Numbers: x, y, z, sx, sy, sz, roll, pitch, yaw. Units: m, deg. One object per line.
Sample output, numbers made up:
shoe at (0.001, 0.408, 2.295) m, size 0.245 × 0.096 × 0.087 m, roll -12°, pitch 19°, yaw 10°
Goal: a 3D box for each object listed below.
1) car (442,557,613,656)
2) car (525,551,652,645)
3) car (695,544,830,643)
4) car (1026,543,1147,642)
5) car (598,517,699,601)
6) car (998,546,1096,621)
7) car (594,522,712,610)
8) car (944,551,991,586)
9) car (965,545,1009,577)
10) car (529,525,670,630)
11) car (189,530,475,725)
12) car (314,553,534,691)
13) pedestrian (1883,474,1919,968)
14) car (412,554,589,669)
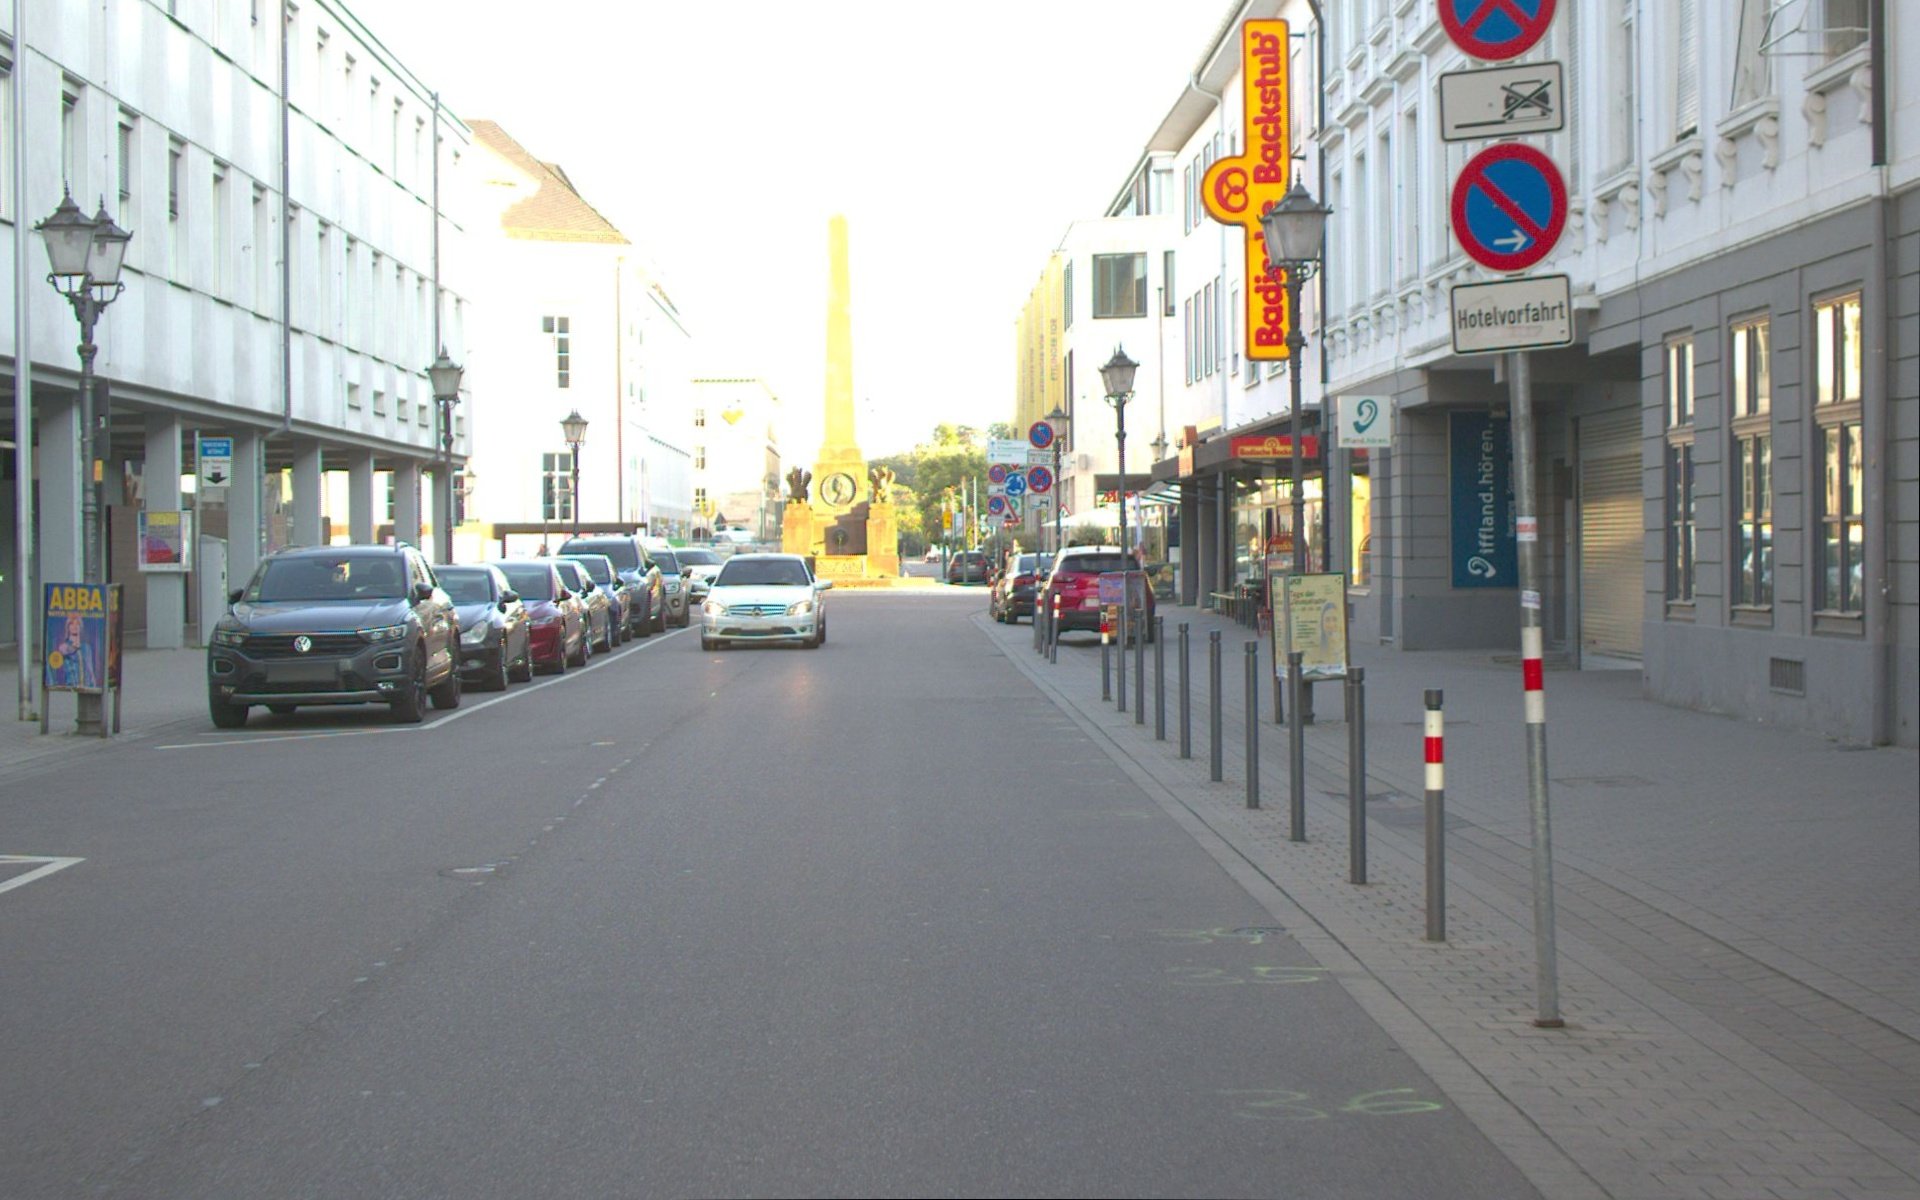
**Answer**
car at (-6.169, 0.068, 49.427) m, size 1.993 × 1.349 × 4.000 m, roll 0°, pitch 1°, yaw -1°
car at (-5.870, -0.058, 54.614) m, size 1.673 × 1.395 × 4.000 m, roll -1°, pitch 1°, yaw -2°
car at (-2.941, -0.128, 51.843) m, size 1.785 × 1.404 × 4.088 m, roll -1°, pitch 1°, yaw 0°
car at (1.990, -0.143, 54.918) m, size 1.759 × 1.518 × 3.677 m, roll 0°, pitch 1°, yaw -1°
car at (-6.945, -0.919, 76.356) m, size 1.993 × 1.809 × 4.785 m, roll 0°, pitch 1°, yaw -8°
car at (1.708, -0.354, 68.765) m, size 1.801 × 1.459 × 4.117 m, roll 0°, pitch 1°, yaw -1°
car at (-5.966, -0.673, 67.252) m, size 1.993 × 1.656 × 4.000 m, roll 0°, pitch 1°, yaw -1°
car at (0.344, -1.392, 150.422) m, size 1.993 × 1.459 × 4.000 m, roll -1°, pitch 1°, yaw 1°
car at (1.258, -1.821, 158.896) m, size 1.993 × 1.459 × 4.000 m, roll -1°, pitch 1°, yaw 1°
car at (-6.304, -0.418, 60.536) m, size 1.993 × 1.722 × 4.516 m, roll -2°, pitch 1°, yaw -1°
car at (-5.547, 0.194, 30.839) m, size 1.785 × 1.609 × 4.166 m, roll -1°, pitch 1°, yaw 0°
car at (-5.860, 0.200, 38.008) m, size 1.785 × 1.404 × 4.088 m, roll -1°, pitch 1°, yaw 0°
pedestrian at (3.775, 0.436, 12.444) m, size 0.620 × 1.783 × 0.913 m, roll 0°, pitch 1°, yaw 0°
car at (-6.016, 0.118, 45.394) m, size 1.785 × 1.404 × 4.088 m, roll -1°, pitch 1°, yaw 0°
